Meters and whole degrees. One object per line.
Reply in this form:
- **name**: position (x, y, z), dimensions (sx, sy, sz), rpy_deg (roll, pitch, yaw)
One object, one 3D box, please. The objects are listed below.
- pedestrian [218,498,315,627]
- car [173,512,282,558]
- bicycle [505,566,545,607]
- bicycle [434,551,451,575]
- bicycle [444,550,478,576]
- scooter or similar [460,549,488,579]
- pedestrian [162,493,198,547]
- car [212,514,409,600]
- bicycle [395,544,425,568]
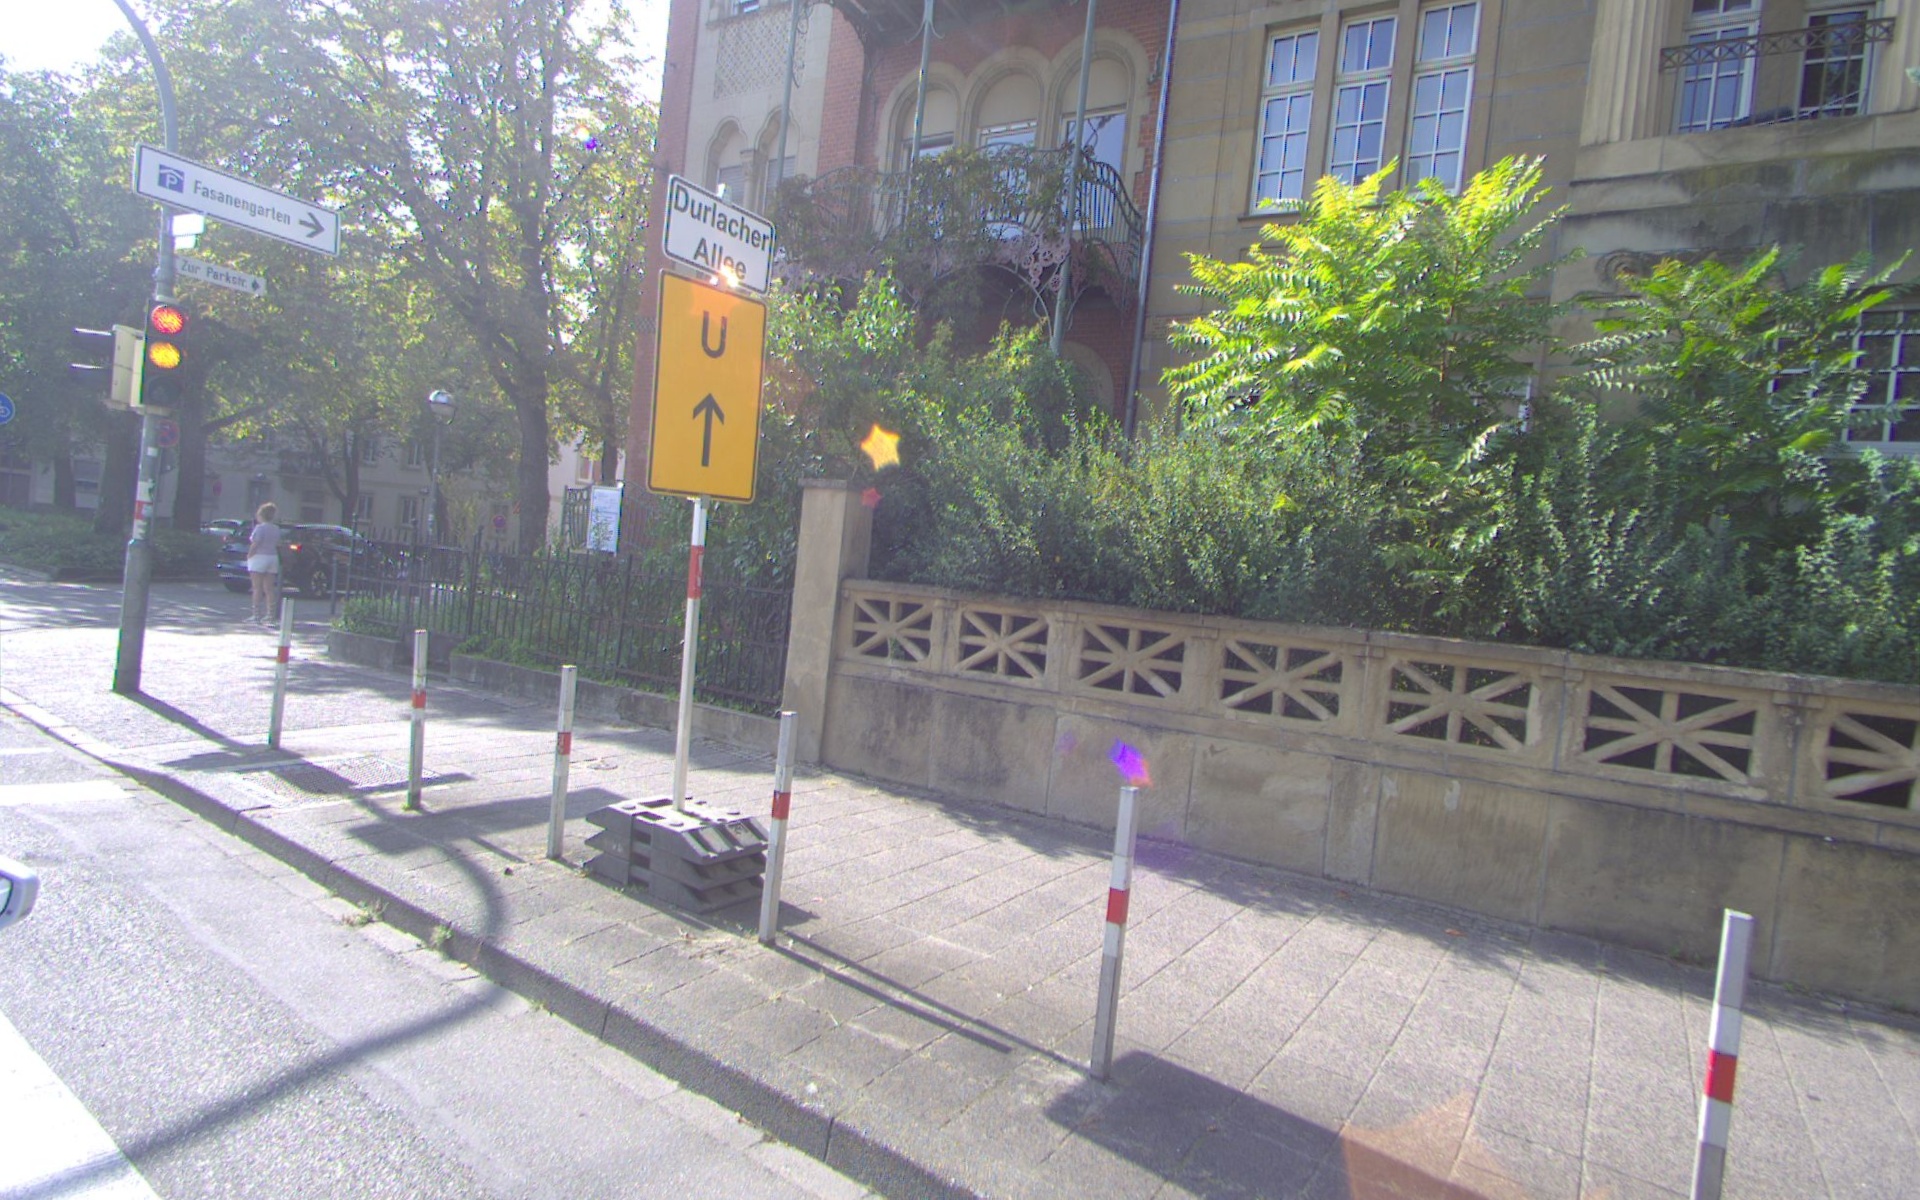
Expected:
- **pedestrian**: position (-10.015, -0.530, 14.543), dimensions (0.757, 1.753, 0.752), rpy_deg (6, 1, 22)
- **car**: position (-30.786, -2.718, 42.290), dimensions (4.070, 1.447, 1.757), rpy_deg (7, 1, 22)
- **bicycle**: position (-11.475, -0.362, 26.573), dimensions (0.418, 0.990, 1.767), rpy_deg (6, 0, -8)
- **bicycle**: position (-22.760, -1.643, 44.271), dimensions (0.420, 0.990, 1.548), rpy_deg (6, 1, -21)
- **bicycle**: position (-22.373, -1.662, 45.126), dimensions (0.417, 1.052, 1.556), rpy_deg (6, 1, 12)
- **scooter or similar**: position (-20.930, -1.537, 43.321), dimensions (1.059, 1.214, 0.456), rpy_deg (3, 4, -27)
- **pedestrian**: position (-27.601, -2.825, 35.606), dimensions (0.887, 1.762, 0.767), rpy_deg (5, 1, -40)
- **car**: position (-14.062, -0.877, 22.106), dimensions (1.583, 1.534, 4.224), rpy_deg (7, 1, -2)
- **bicycle**: position (-26.113, -2.071, 47.756), dimensions (1.529, 0.990, 0.425), rpy_deg (7, 1, 28)
